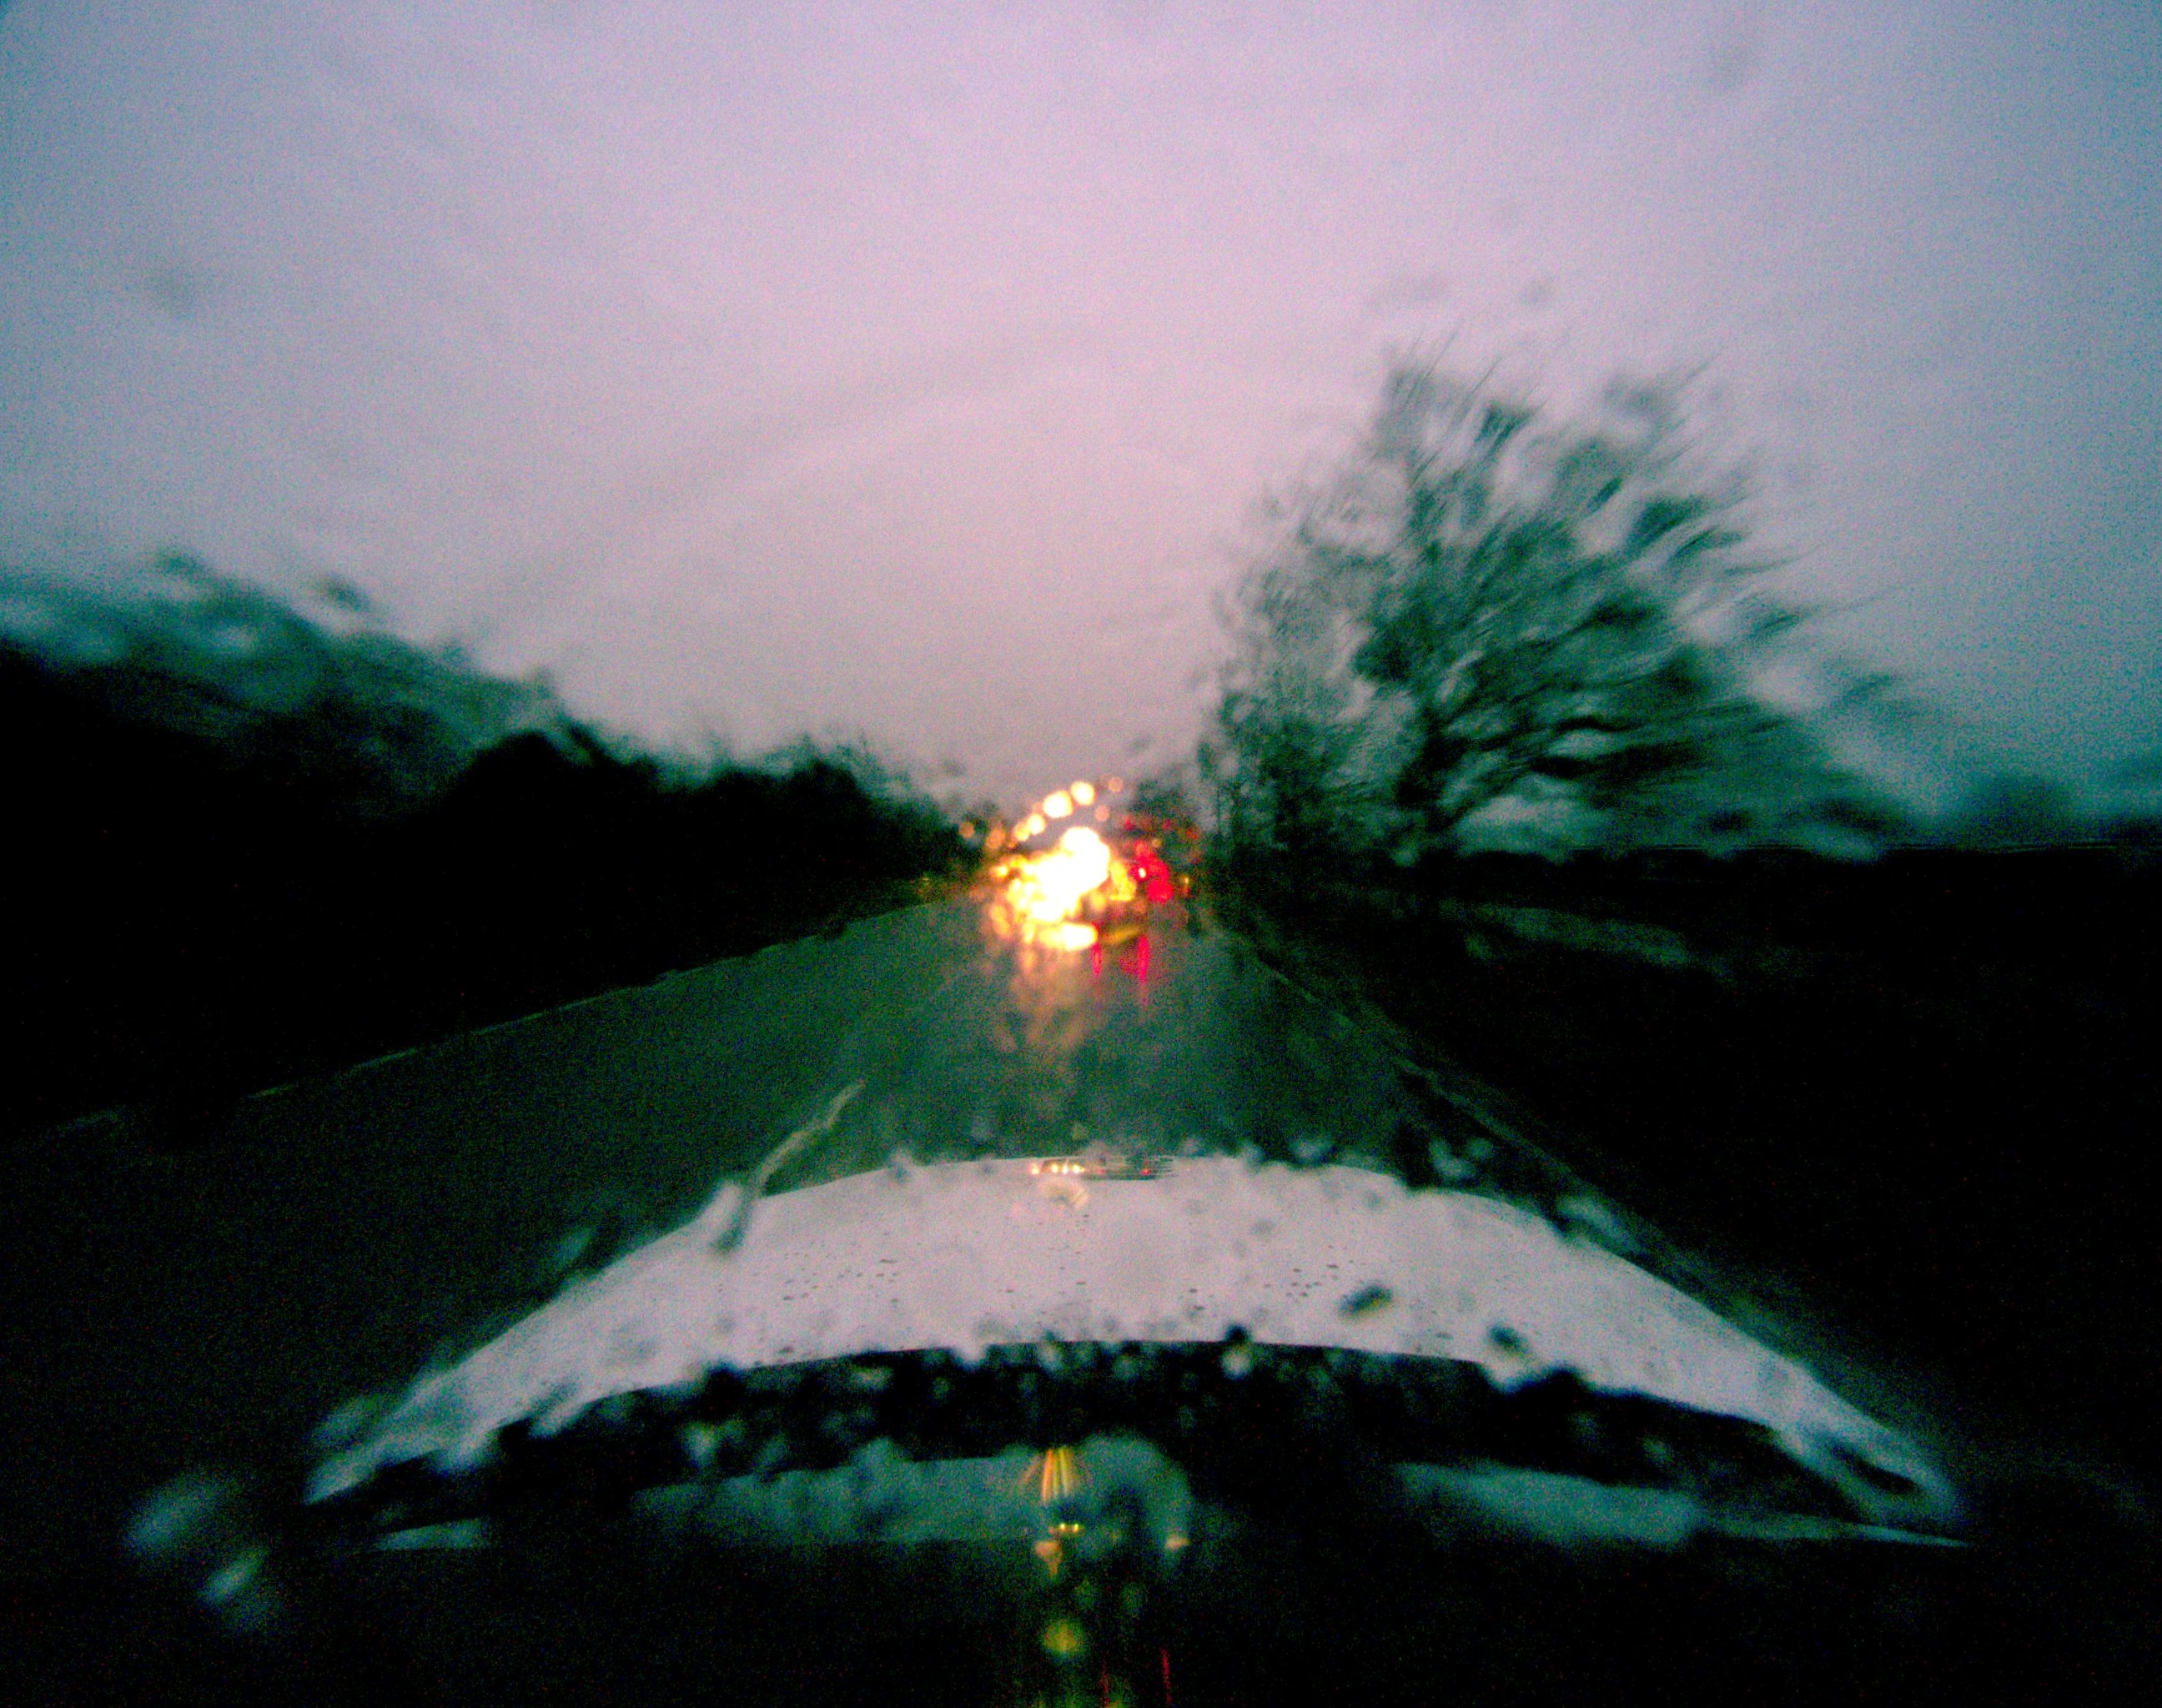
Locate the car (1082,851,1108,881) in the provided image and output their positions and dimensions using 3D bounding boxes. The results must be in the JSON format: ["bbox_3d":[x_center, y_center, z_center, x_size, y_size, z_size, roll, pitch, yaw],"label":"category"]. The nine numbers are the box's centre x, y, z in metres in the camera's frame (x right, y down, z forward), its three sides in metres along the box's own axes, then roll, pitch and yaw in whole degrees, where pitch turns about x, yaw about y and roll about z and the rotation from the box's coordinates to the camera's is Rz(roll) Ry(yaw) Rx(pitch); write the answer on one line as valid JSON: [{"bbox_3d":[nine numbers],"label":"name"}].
[{"bbox_3d":[0.913,0.779,52.733,1.568,1.875,3.711,0,0,2],"label":"car"}]

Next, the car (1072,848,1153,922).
[{"bbox_3d":[0.857,0.761,21.876,1.986,1.784,4.002,0,0,2],"label":"car"}]

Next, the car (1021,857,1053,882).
[{"bbox_3d":[-2.750,0.944,51.381,1.685,1.530,4.086,0,0,1],"label":"car"}]

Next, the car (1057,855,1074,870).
[{"bbox_3d":[-1.675,0.922,89.090,1.747,1.647,4.047,-1,0,-1],"label":"car"}]
